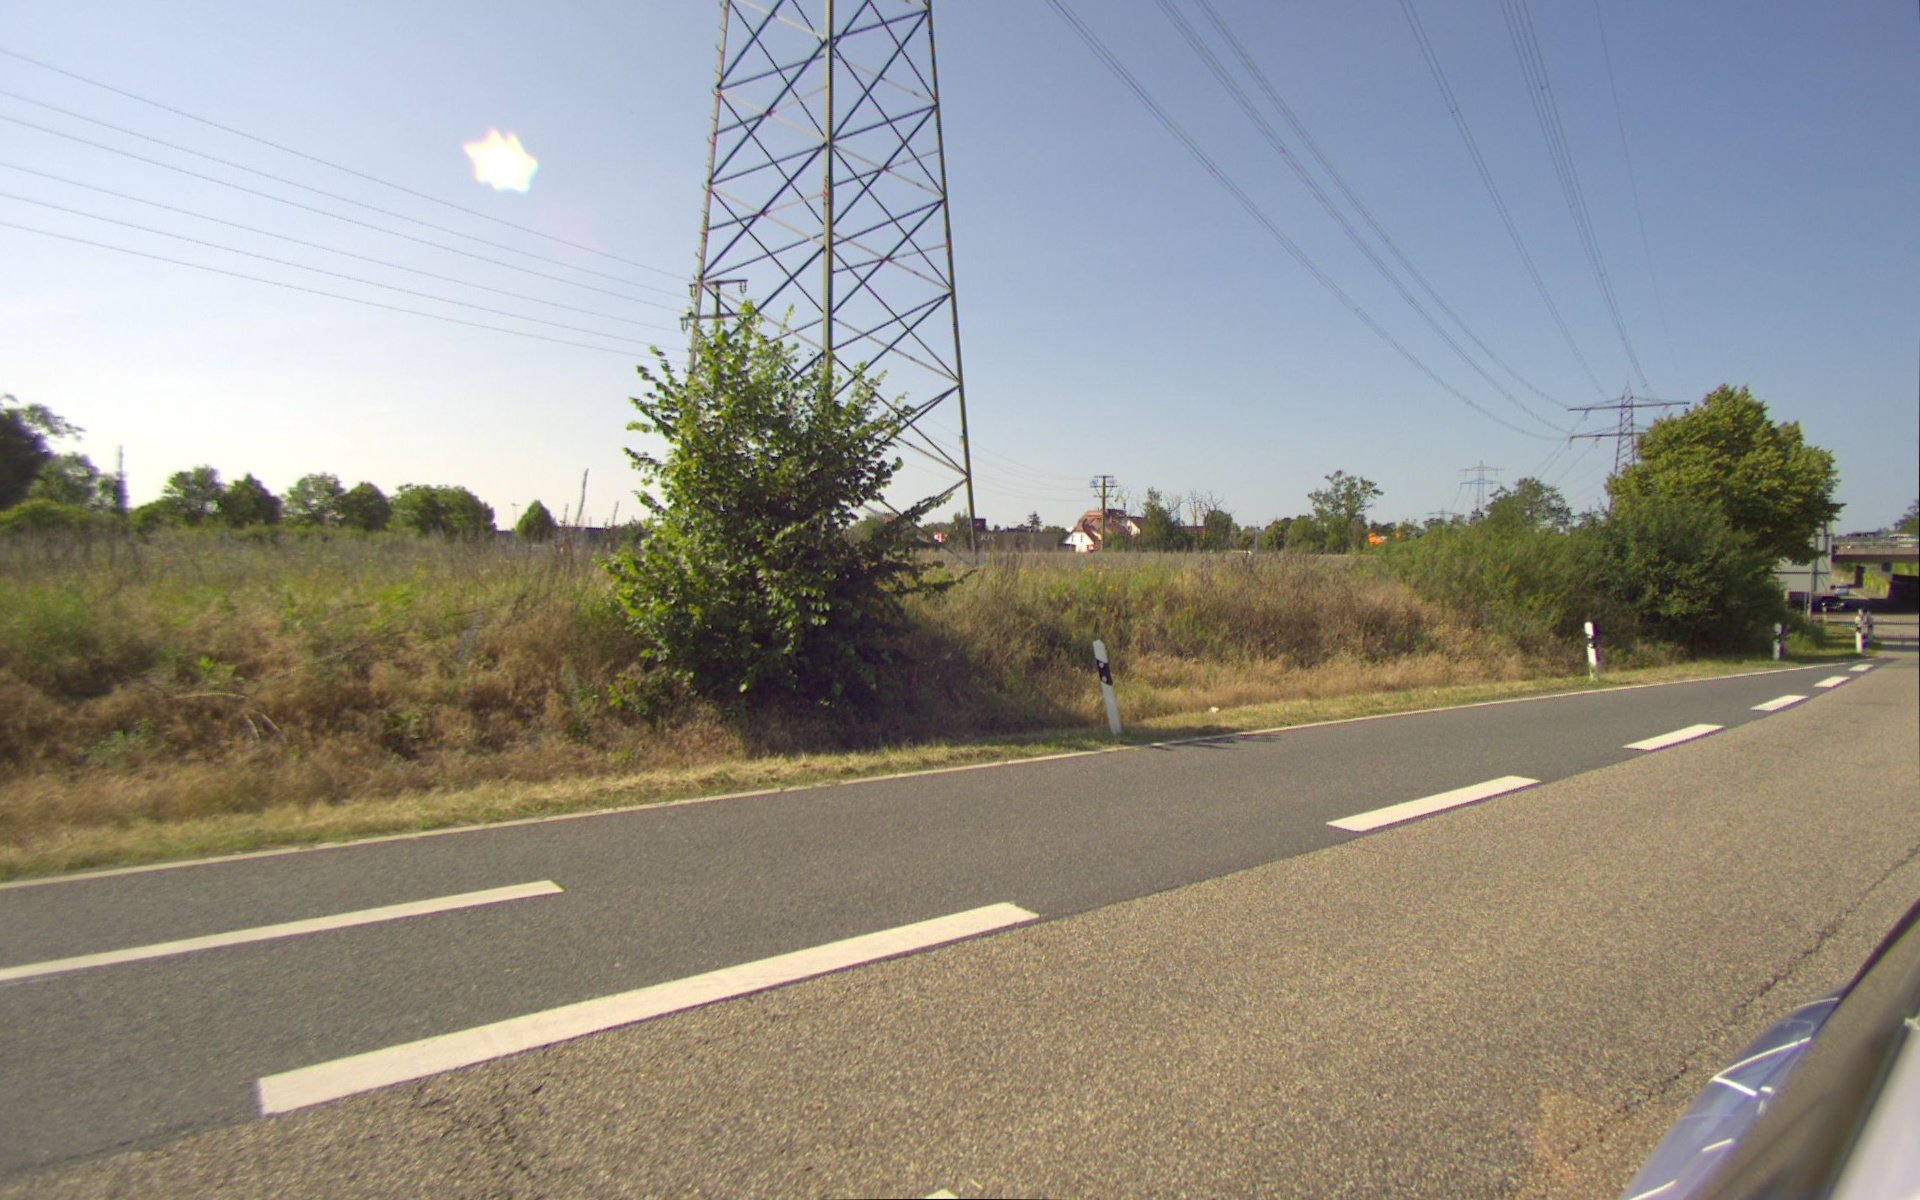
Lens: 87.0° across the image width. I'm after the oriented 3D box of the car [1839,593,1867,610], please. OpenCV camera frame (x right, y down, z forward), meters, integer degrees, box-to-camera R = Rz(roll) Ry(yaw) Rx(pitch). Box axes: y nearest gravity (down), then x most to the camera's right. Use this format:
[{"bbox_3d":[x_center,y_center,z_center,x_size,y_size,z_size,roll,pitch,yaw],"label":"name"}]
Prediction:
[{"bbox_3d":[88.777,0.108,100.625,1.851,1.639,3.598,1,1,38],"label":"car"}]
